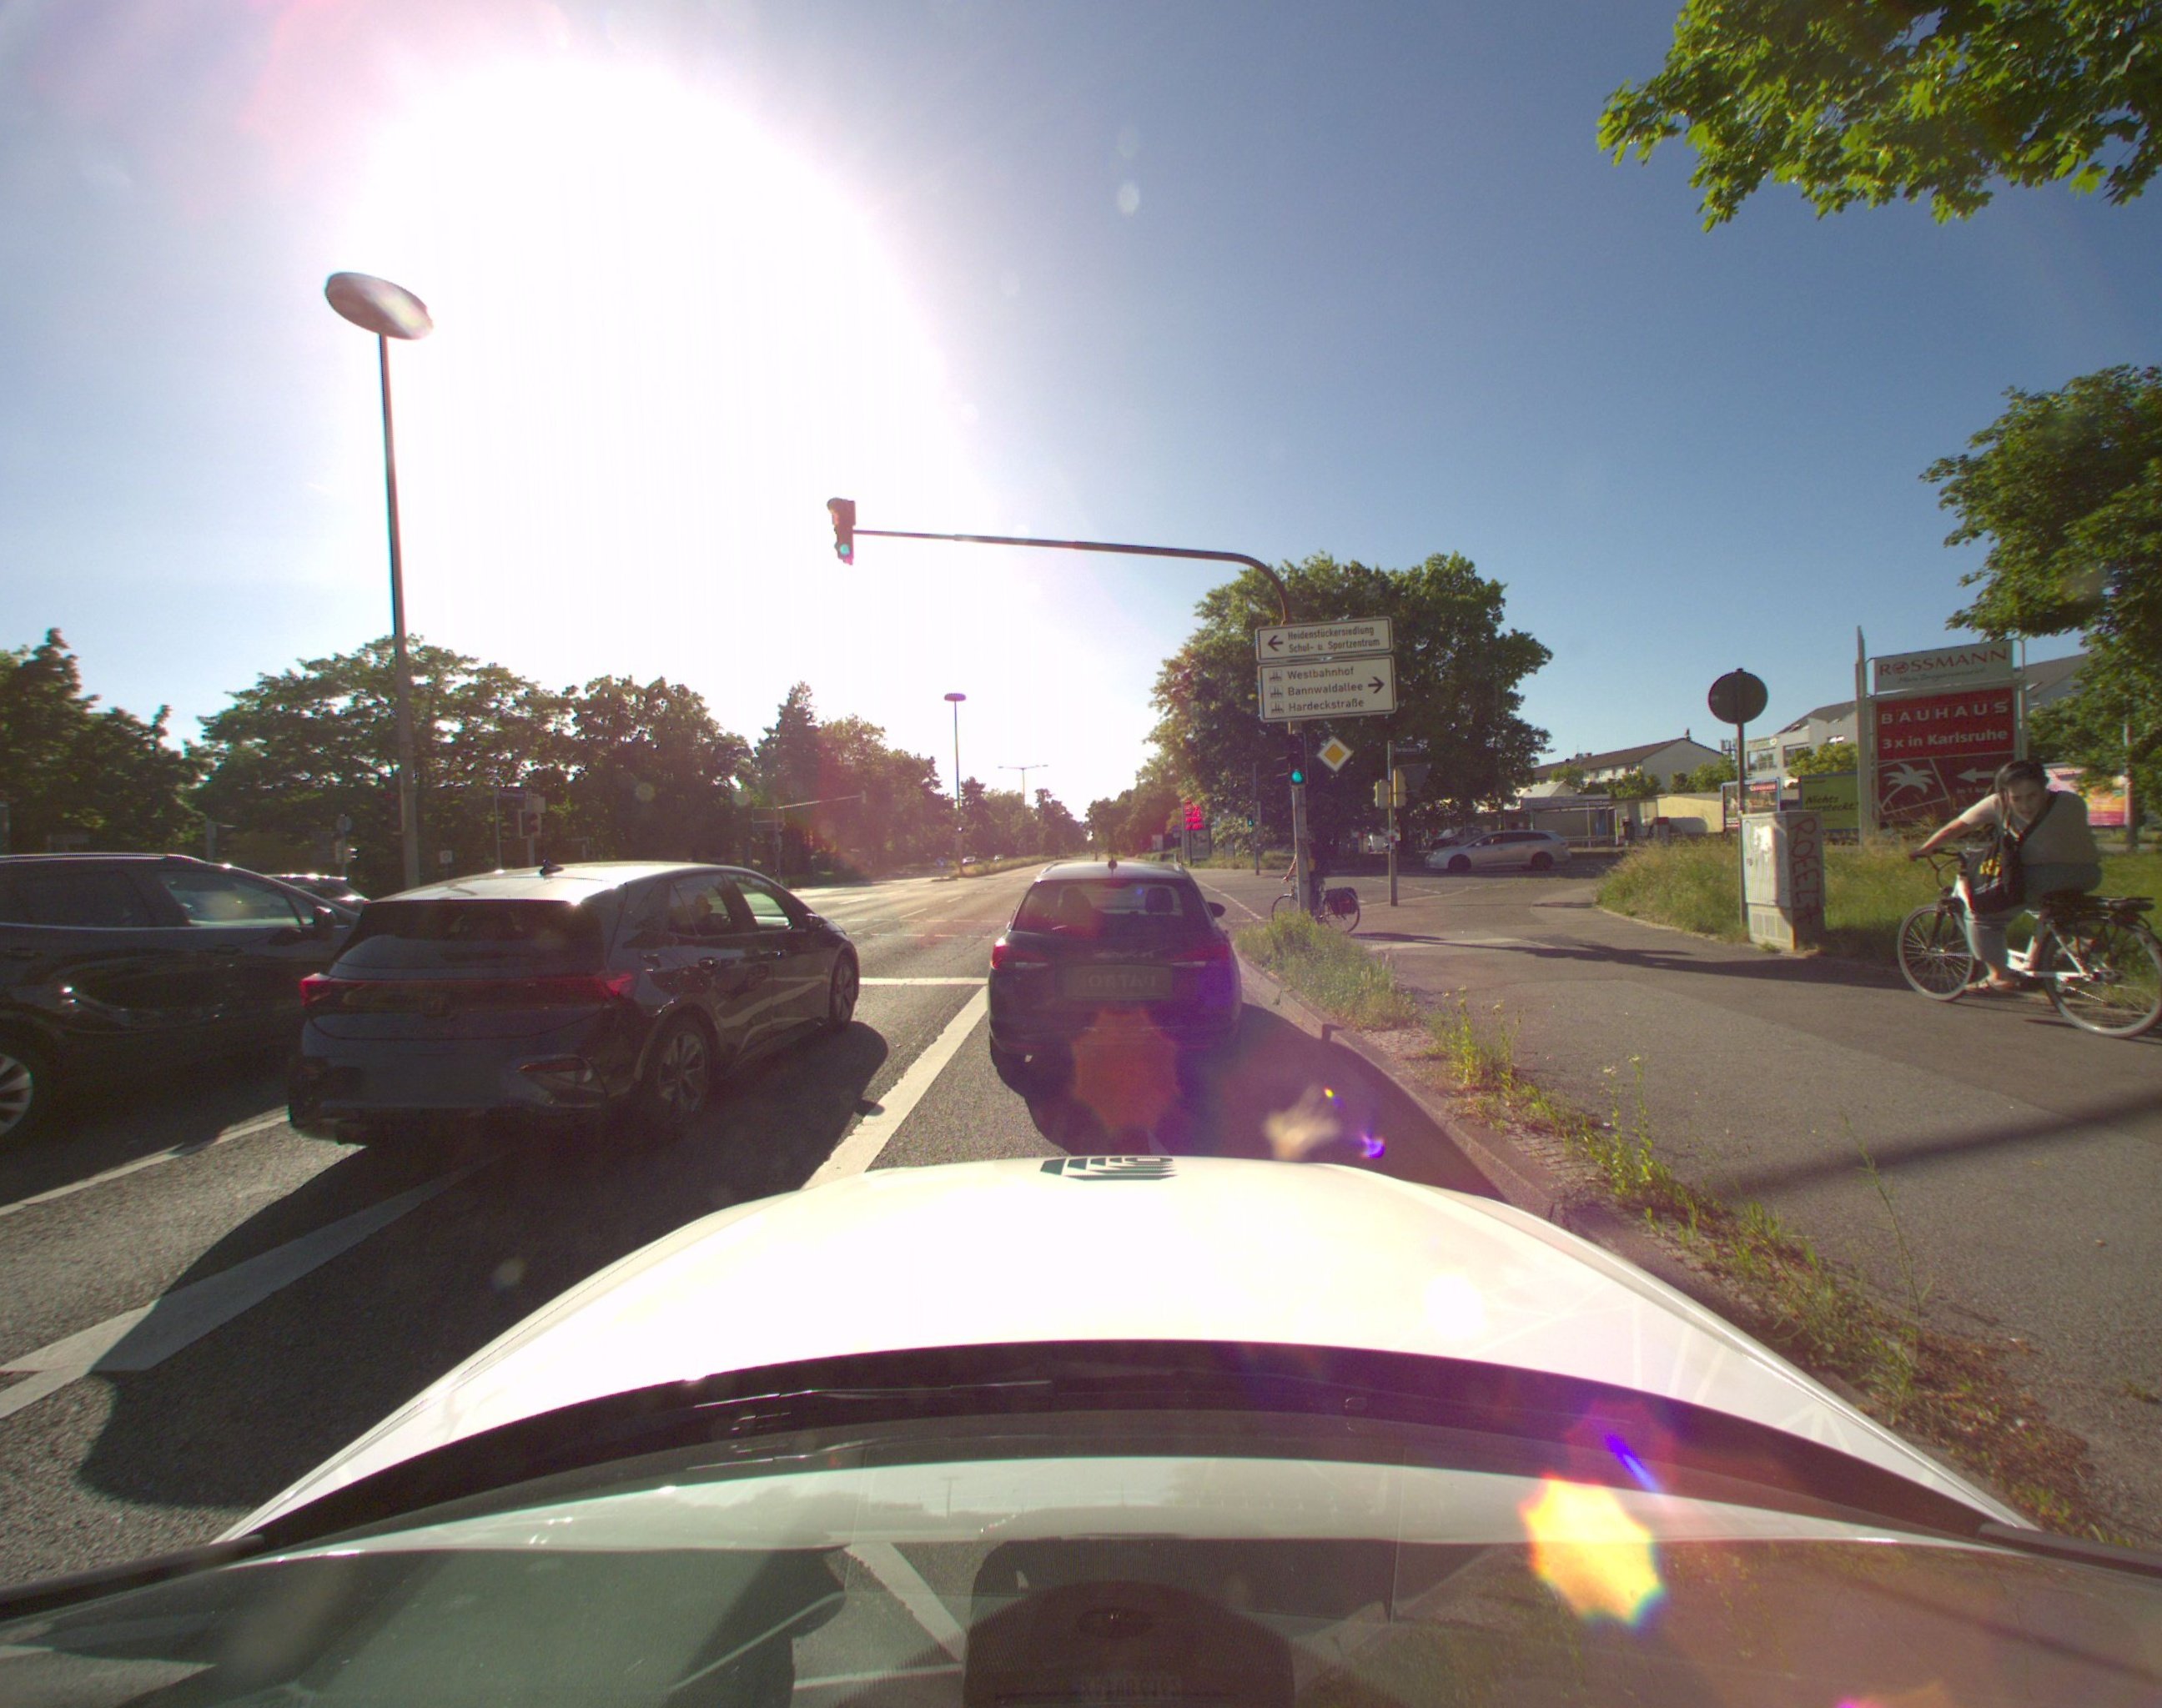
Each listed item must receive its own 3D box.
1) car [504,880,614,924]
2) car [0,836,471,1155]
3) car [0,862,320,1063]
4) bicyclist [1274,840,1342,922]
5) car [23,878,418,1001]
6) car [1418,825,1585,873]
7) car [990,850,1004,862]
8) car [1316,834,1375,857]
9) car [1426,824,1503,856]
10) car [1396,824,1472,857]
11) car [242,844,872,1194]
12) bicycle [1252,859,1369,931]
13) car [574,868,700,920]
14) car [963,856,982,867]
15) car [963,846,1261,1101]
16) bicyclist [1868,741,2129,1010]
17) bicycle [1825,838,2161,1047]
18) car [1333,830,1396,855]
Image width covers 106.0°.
[{"bbox_3d":[-18.169,1.636,28.551,1.384,1.235,3.637,-3,0,2],"label":"car"},{"bbox_3d":[-6.620,0.788,5.514,1.798,1.689,4.002,-3,0,2],"label":"car"},{"bbox_3d":[-10.224,0.988,7.917,1.824,1.702,3.999,-3,0,0],"label":"car"},{"bbox_3d":[3.716,0.446,13.369,0.541,1.277,0.819,-3,-2,-42],"label":"bicyclist"},{"bbox_3d":[-14.763,1.348,14.500,1.986,1.601,4.617,-3,0,2],"label":"car"},{"bbox_3d":[14.963,-0.167,29.289,4.969,1.486,2.007,-2,0,13],"label":"car"},{"bbox_3d":[-15.695,0.358,152.622,1.986,2.013,4.001,-3,0,1],"label":"car"},{"bbox_3d":[19.327,-0.615,59.521,3.903,1.517,1.733,-3,0,-21],"label":"car"},{"bbox_3d":[22.376,-0.815,47.522,4.002,1.680,1.733,-3,0,-21],"label":"car"},{"bbox_3d":[21.395,-0.835,49.371,4.003,1.749,1.985,-3,1,-22],"label":"car"},{"bbox_3d":[-2.960,0.772,5.851,1.678,1.580,4.208,-1,0,2],"label":"car"},{"bbox_3d":[3.731,0.687,13.368,0.541,1.097,1.755,-3,-2,-42],"label":"bicycle"},{"bbox_3d":[-14.690,1.276,27.249,1.769,1.463,4.166,-3,0,2],"label":"car"},{"bbox_3d":[-15.744,1.056,118.551,1.986,1.530,4.001,-3,0,1],"label":"car"},{"bbox_3d":[0.248,0.726,6.960,1.750,1.495,4.208,-1,0,2],"label":"car"},{"bbox_3d":[5.976,0.128,5.379,0.575,1.581,1.000,-4,0,10],"label":"bicyclist"},{"bbox_3d":[5.997,0.470,5.377,0.575,1.097,1.993,-4,0,10],"label":"bicycle"},{"bbox_3d":[19.661,-0.823,56.429,3.903,1.517,1.733,-3,0,-21],"label":"car"}]
